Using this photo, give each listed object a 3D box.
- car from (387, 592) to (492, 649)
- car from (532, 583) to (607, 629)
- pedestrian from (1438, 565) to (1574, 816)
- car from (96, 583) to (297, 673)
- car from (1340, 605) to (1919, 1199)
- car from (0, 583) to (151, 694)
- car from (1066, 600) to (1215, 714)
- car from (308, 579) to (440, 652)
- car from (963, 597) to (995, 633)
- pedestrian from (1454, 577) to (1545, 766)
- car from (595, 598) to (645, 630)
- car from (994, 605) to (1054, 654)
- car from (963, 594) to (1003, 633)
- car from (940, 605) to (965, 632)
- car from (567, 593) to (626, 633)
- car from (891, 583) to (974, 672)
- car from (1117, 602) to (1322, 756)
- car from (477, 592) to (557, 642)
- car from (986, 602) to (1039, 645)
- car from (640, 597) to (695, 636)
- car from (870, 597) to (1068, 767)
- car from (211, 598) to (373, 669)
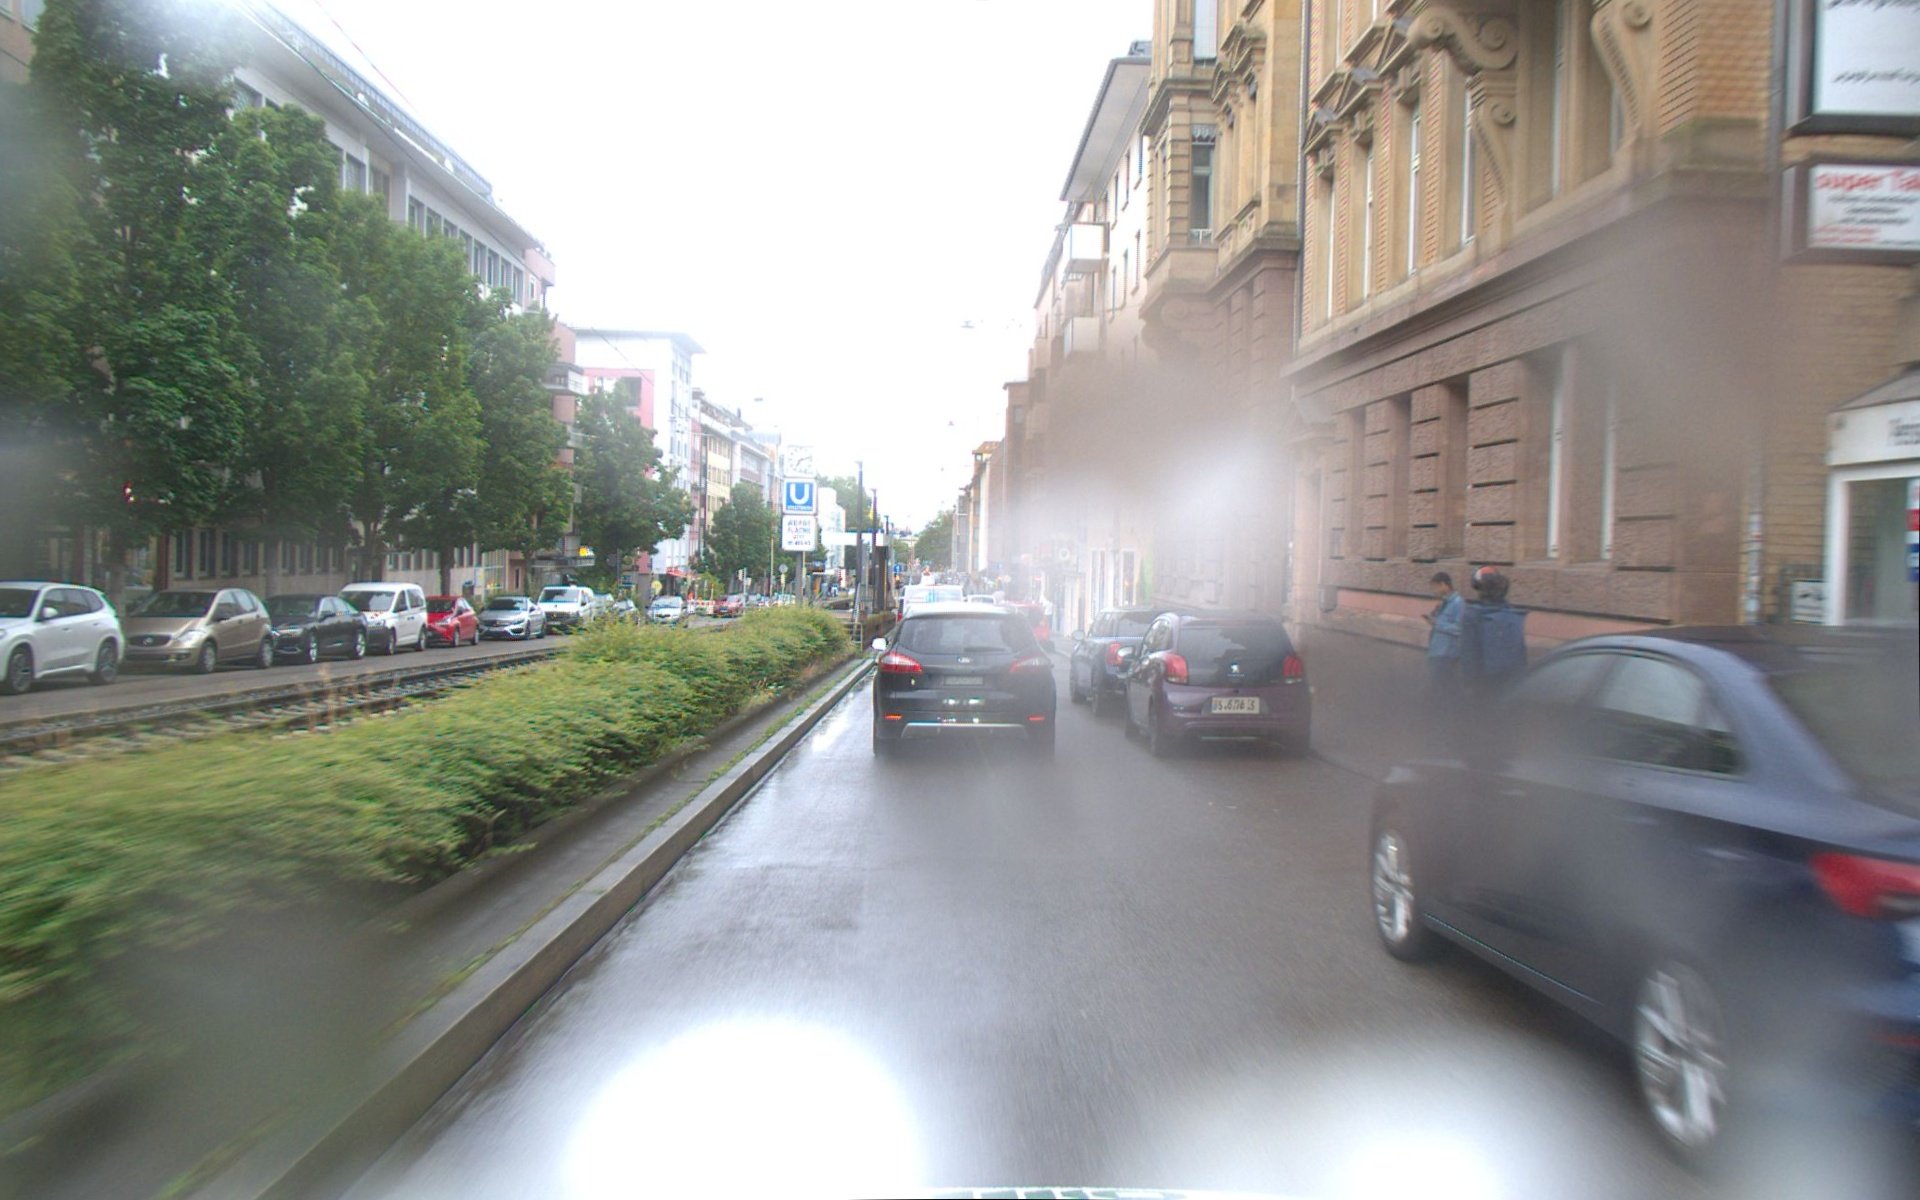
[{"bbox_3d":[-15.234,0.617,48.633,1.818,1.554,4.045,2,-1,-1],"label":"car"},{"bbox_3d":[-15.406,0.276,65.438,1.818,1.665,4.934,2,-1,-1],"label":"car"},{"bbox_3d":[4.216,0.668,12.831,0.689,1.851,0.961,-2,1,-1],"label":"pedestrian"},{"bbox_3d":[-14.602,0.561,31.919,1.818,1.576,4.430,2,-1,-1],"label":"car"},{"bbox_3d":[2.767,0.789,5.670,1.756,1.431,4.254,1,-1,-3],"label":"car"},{"bbox_3d":[-14.535,0.571,25.496,1.818,1.576,4.719,2,-1,-1],"label":"car"},{"bbox_3d":[2.479,0.756,23.484,1.545,1.485,3.819,1,0,-2],"label":"car"},{"bbox_3d":[-14.999,0.423,42.583,1.818,1.731,4.430,2,-1,-1],"label":"car"},{"bbox_3d":[0.985,0.825,89.529,1.559,1.812,3.778,3,-2,-1],"label":"car"},{"bbox_3d":[4.742,0.625,14.567,0.509,1.607,0.677,-2,-2,-1],"label":"pedestrian"},{"bbox_3d":[-15.895,0.684,77.577,1.519,1.419,4.045,2,-1,-1],"label":"car"},{"bbox_3d":[1.946,0.887,51.089,1.636,1.446,3.475,0,0,-1],"label":"car"},{"bbox_3d":[1.147,0.716,83.685,1.801,1.812,3.778,3,-2,-1],"label":"car"},{"bbox_3d":[-0.612,1.585,139.247,1.953,2.049,3.999,3,-2,-1],"label":"car"},{"bbox_3d":[-15.739,0.581,71.847,1.660,1.601,4.045,2,-1,-1],"label":"car"},{"bbox_3d":[-0.635,0.636,41.813,1.947,2.096,4.645,1,0,0],"label":"car"},{"bbox_3d":[2.691,0.785,17.823,1.616,1.485,3.475,0,0,-1],"label":"car"},{"bbox_3d":[-14.943,0.593,55.964,1.634,1.585,4.045,2,-1,-1],"label":"car"},{"bbox_3d":[1.799,0.796,57.629,1.636,1.446,3.475,0,0,-1],"label":"car"},{"bbox_3d":[-13.375,0.771,75.819,1.818,1.665,4.045,2,-1,-1],"label":"car"},{"bbox_3d":[-0.018,0.765,17.043,1.806,1.533,3.997,0,-1,-3],"label":"car"},{"bbox_3d":[-14.660,0.758,36.570,1.818,1.443,4.430,-1,-1,-1],"label":"car"}]
